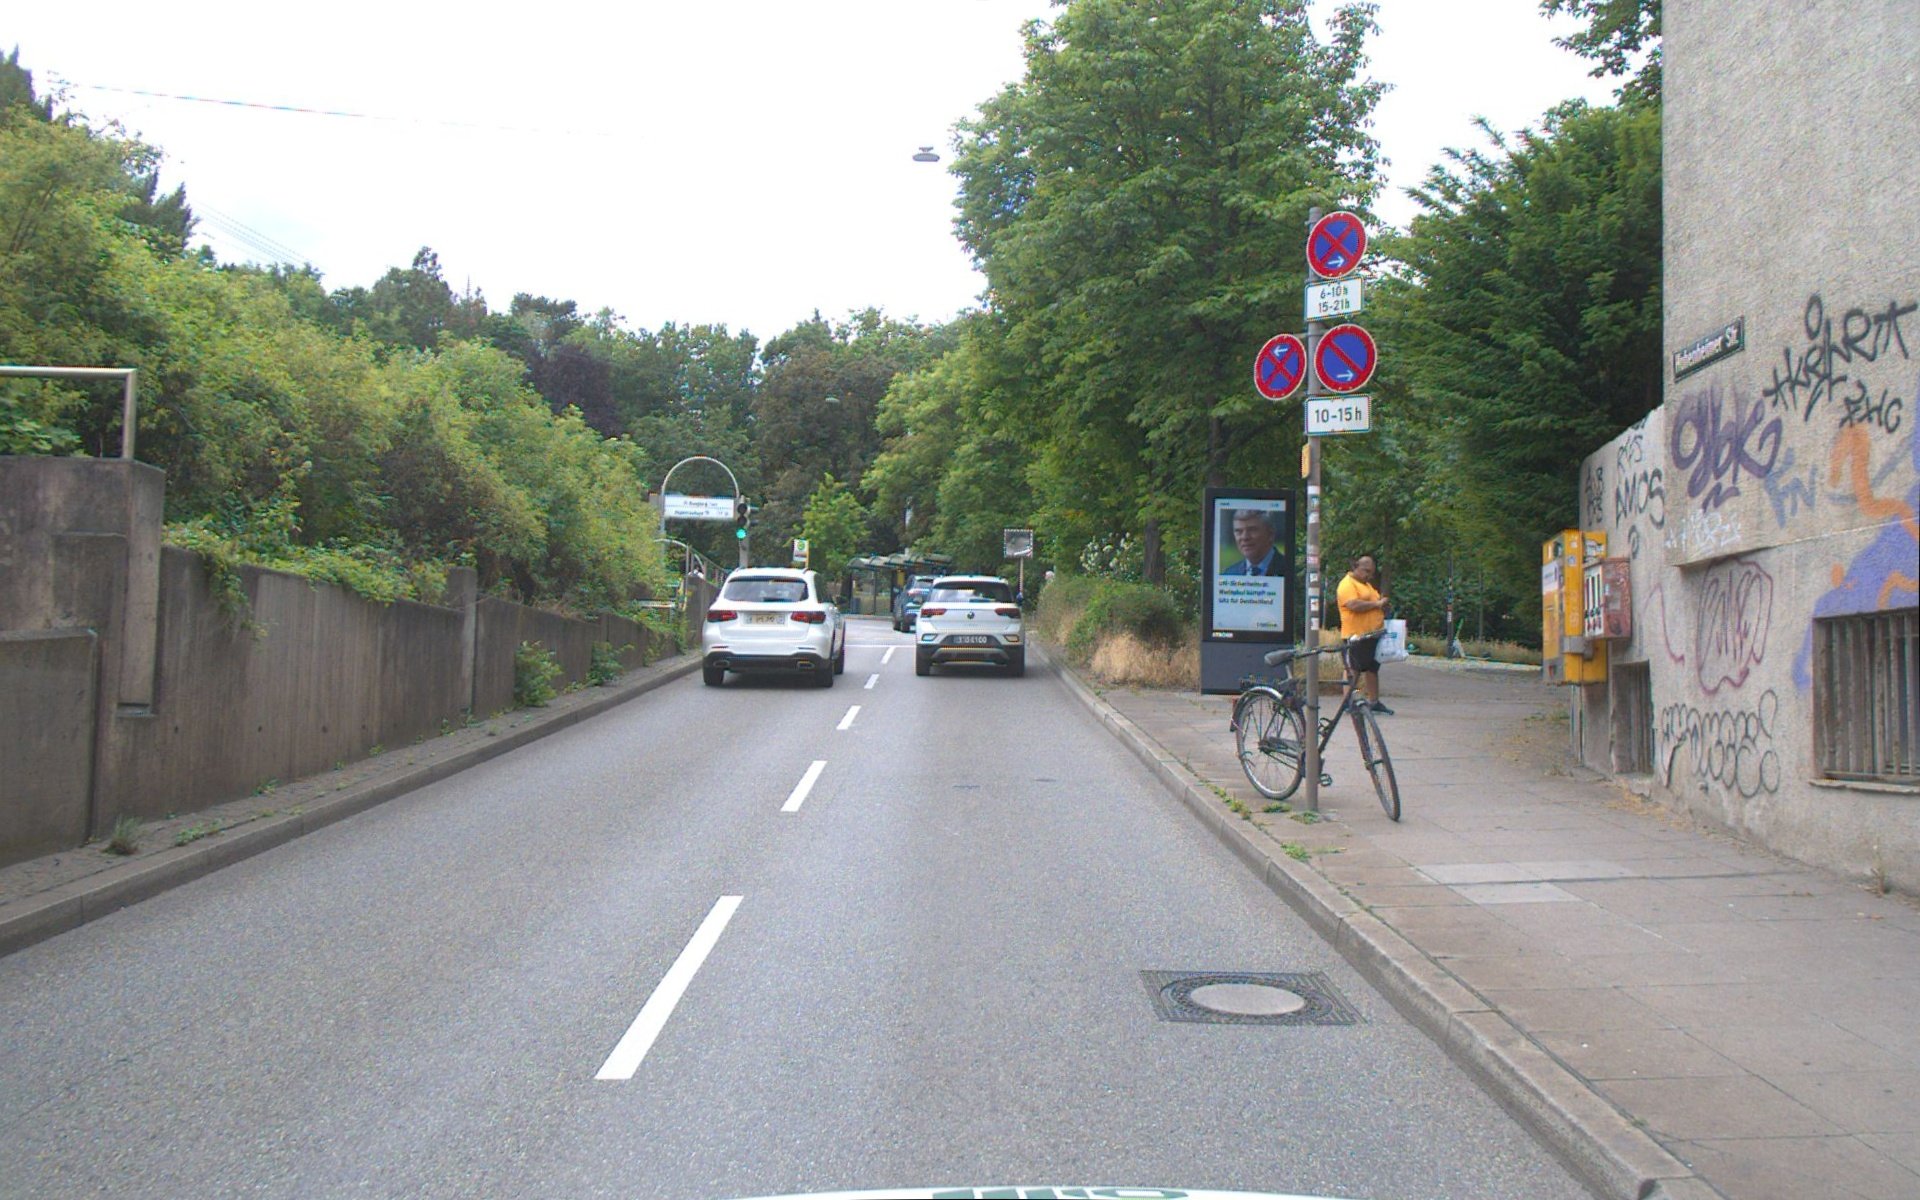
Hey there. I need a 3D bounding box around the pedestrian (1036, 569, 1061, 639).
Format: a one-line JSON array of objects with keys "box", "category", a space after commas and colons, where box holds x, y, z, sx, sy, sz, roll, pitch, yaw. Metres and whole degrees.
[{"box": [2.200, 0.099, 41.174, 0.602, 1.742, 0.727, 0, 0, 3], "category": "pedestrian"}]

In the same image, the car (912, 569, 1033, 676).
[{"box": [0.211, 0.340, 27.218, 1.826, 1.583, 3.894, 1, 0, 0], "category": "car"}]

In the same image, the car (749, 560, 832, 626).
[{"box": [-5.347, -0.239, 51.832, 1.960, 1.914, 3.985, 2, 0, -15], "category": "car"}]

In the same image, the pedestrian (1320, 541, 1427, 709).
[{"box": [4.395, 0.253, 17.636, 0.819, 1.742, 0.818, 0, 0, -15], "category": "pedestrian"}]

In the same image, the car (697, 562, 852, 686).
[{"box": [-2.654, 0.315, 24.607, 1.838, 1.681, 4.341, 0, 0, 0], "category": "car"}]

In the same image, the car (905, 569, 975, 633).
[{"box": [-0.546, 0.018, 45.575, 1.823, 1.660, 3.959, 1, 0, -1], "category": "car"}]

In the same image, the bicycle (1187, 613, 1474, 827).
[{"box": [2.283, 0.693, 10.493, 0.631, 1.163, 2.049, -3, 1, -25], "category": "bicycle"}]

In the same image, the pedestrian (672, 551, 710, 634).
[{"box": [-6.185, -0.176, 38.042, 0.690, 1.893, 0.614, 1, 0, 6], "category": "pedestrian"}]
